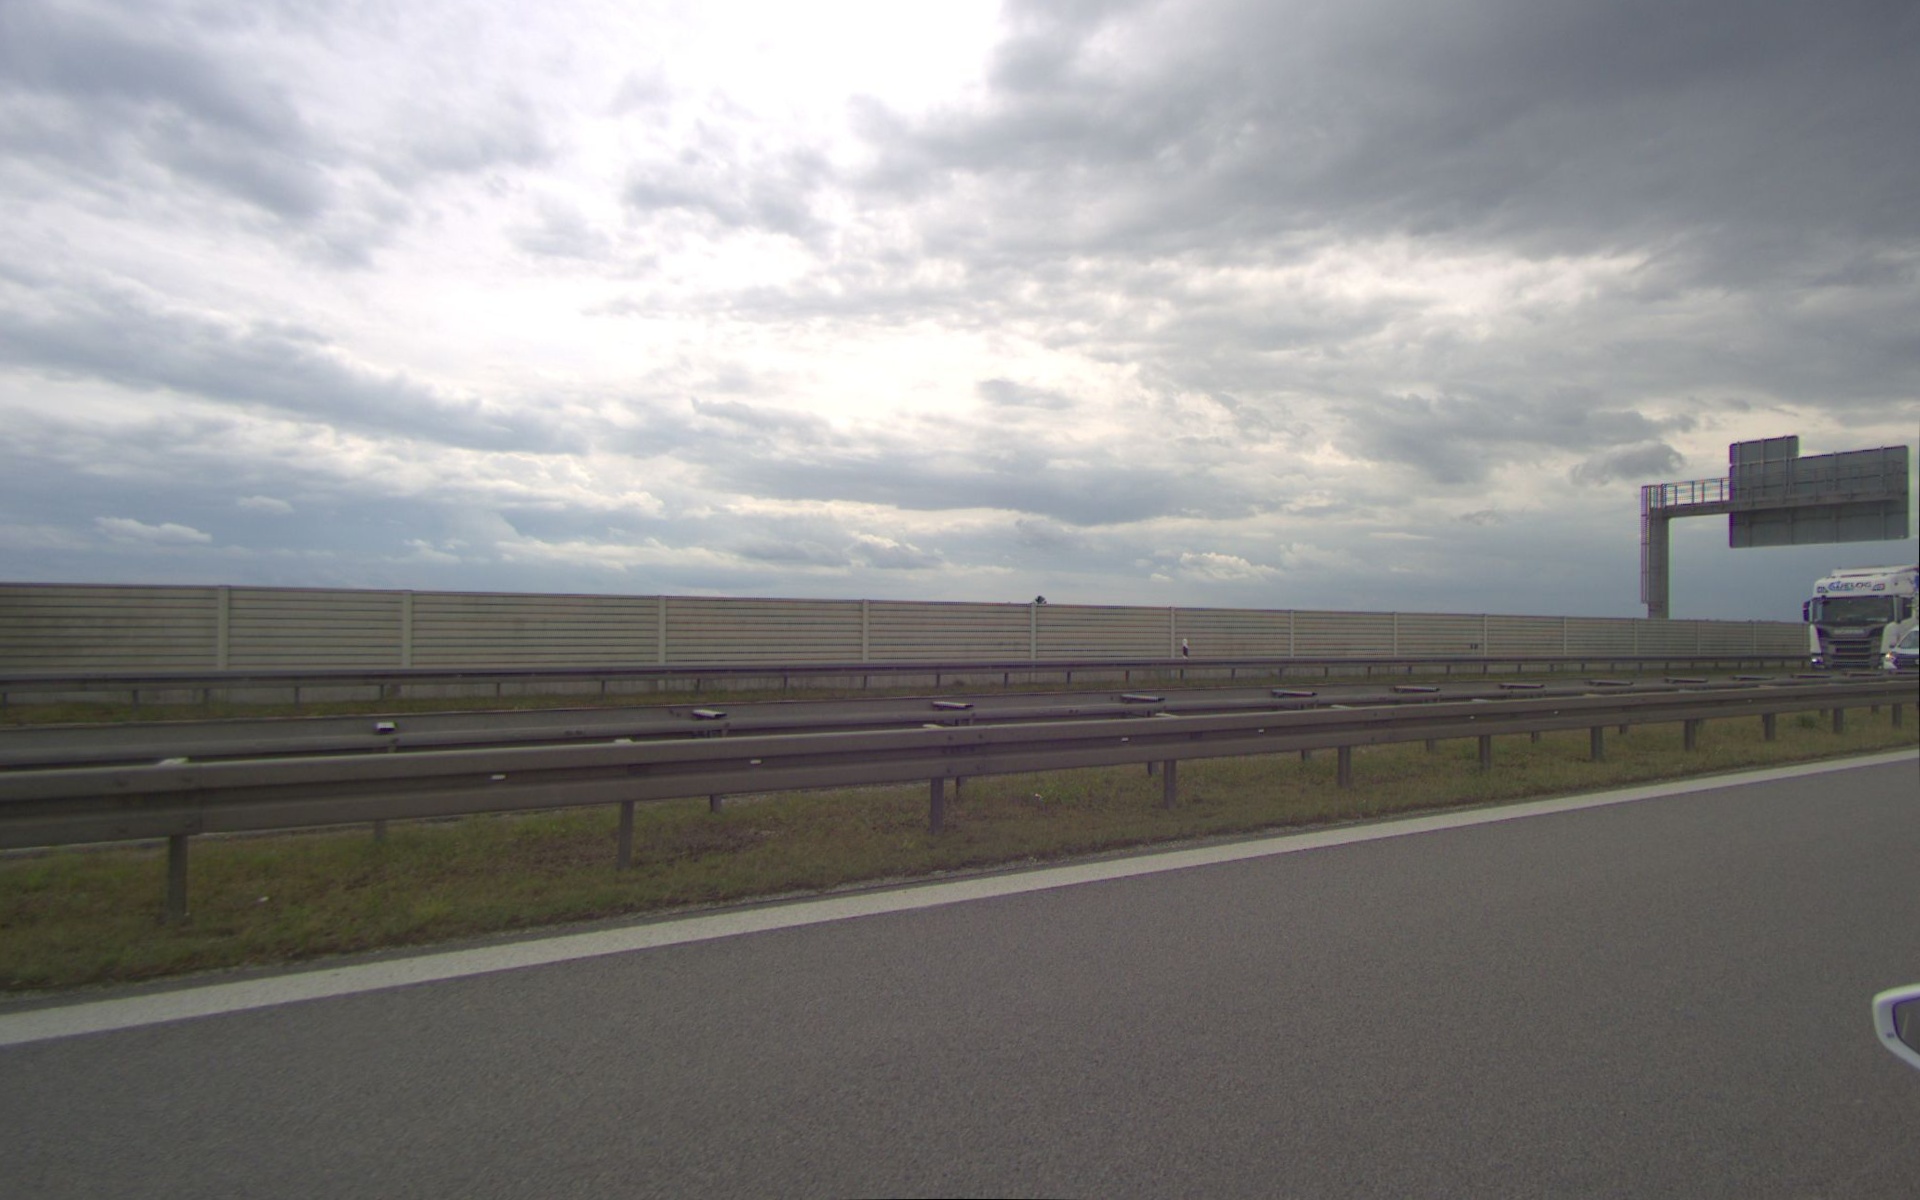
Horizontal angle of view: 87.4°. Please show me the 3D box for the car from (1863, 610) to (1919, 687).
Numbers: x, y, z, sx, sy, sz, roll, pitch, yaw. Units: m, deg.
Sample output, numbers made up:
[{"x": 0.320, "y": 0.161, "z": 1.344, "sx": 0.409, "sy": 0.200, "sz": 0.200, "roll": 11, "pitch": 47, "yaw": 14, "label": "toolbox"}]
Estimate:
[{"x": 26.150, "y": 1.312, "z": 26.777, "sx": 4.132, "sy": 1.872, "sz": 1.805, "roll": 2, "pitch": 4, "yaw": -30, "label": "car"}]

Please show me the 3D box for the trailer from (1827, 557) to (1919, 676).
[{"x": 38.856, "y": 0.762, "z": 39.250, "sx": 13.859, "sy": 4.129, "sz": 3.164, "roll": 1, "pitch": -3, "yaw": -30, "label": "trailer"}]

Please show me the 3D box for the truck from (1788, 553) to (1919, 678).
[{"x": 33.172, "y": 0.634, "z": 35.946, "sx": 7.238, "sy": 4.067, "sz": 3.095, "roll": 1, "pitch": -3, "yaw": -30, "label": "truck"}]
